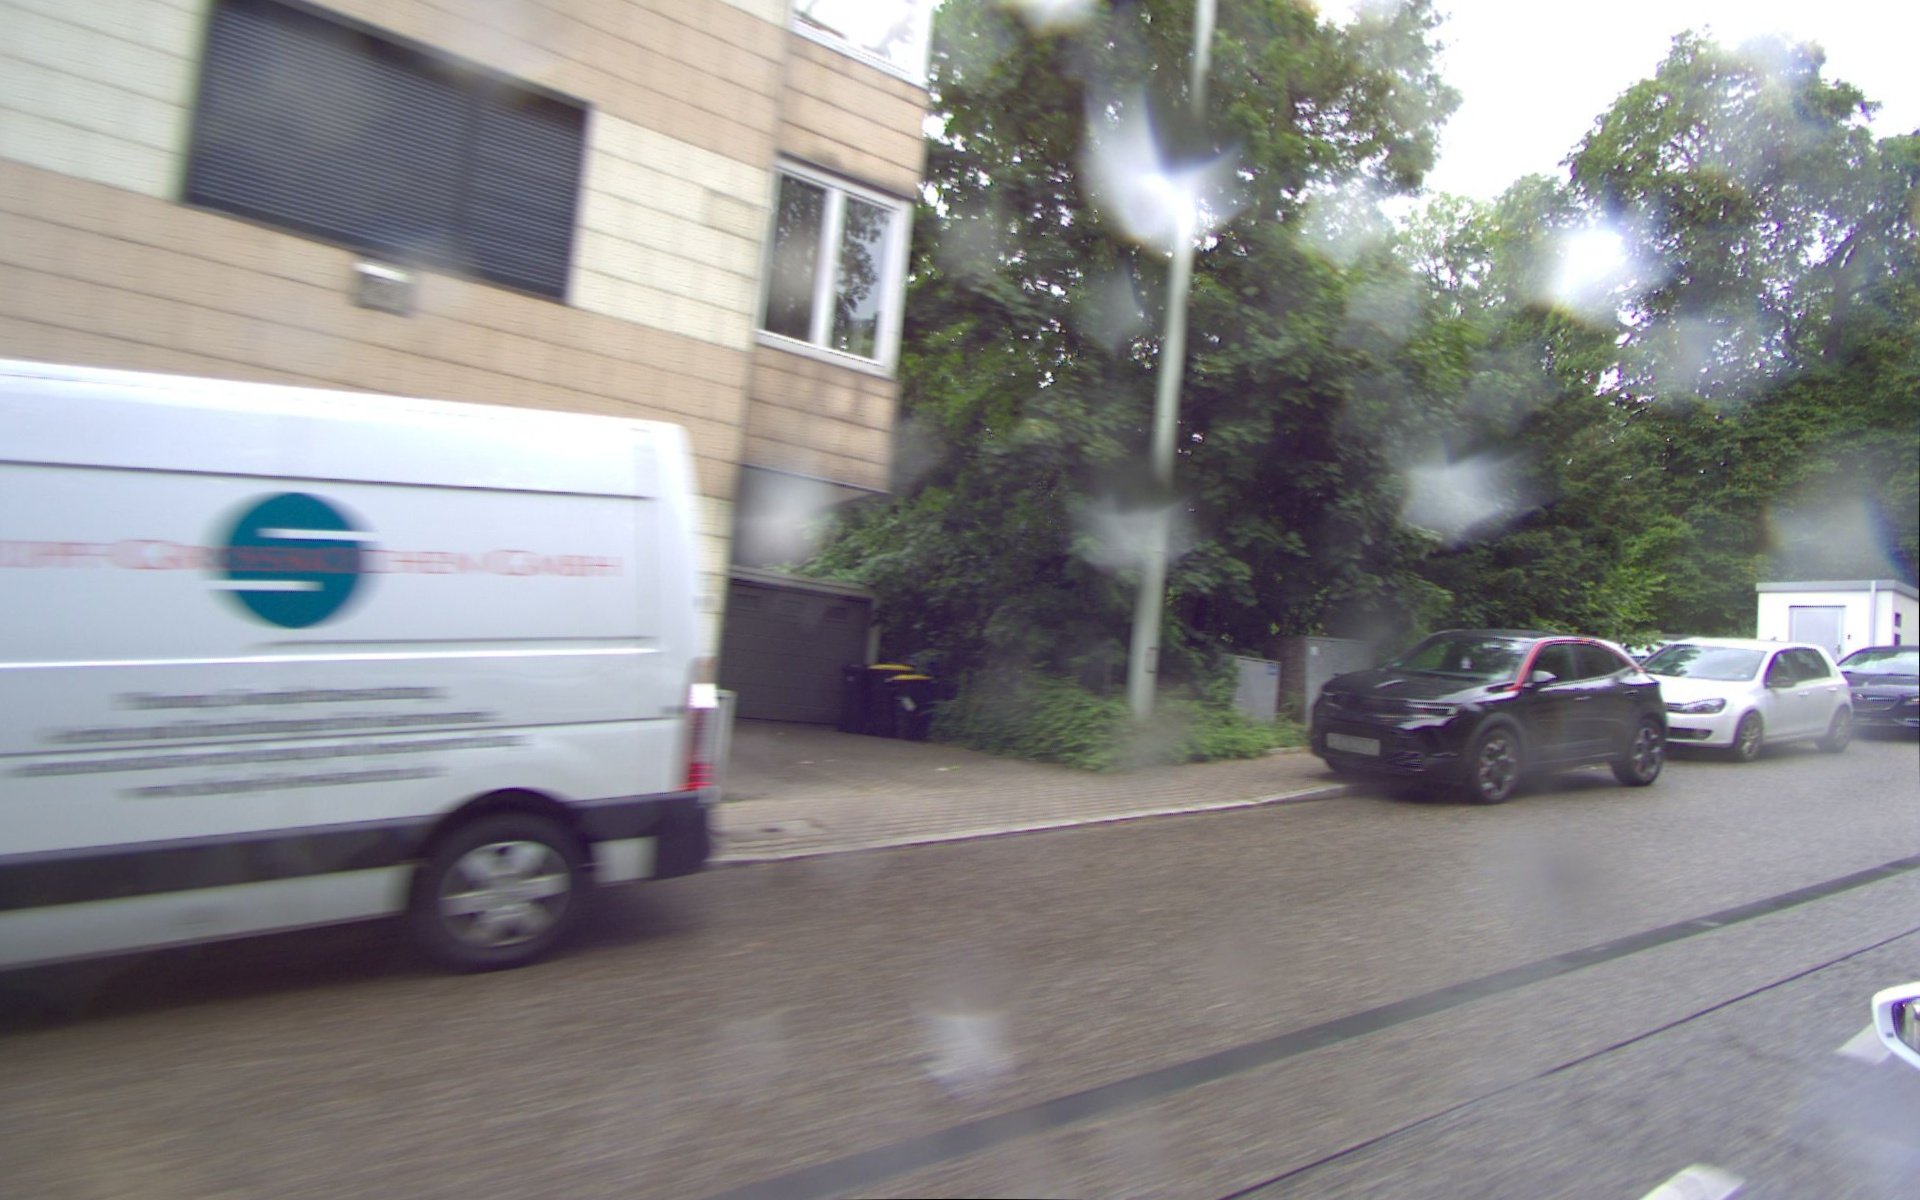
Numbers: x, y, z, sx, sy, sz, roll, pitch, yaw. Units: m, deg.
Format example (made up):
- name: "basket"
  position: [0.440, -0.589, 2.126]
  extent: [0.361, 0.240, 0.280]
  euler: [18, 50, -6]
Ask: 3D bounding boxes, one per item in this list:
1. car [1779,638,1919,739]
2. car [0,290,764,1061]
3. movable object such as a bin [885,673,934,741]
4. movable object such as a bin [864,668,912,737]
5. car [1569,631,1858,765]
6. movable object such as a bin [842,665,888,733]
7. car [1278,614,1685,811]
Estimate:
- name: "car"
  position: [15.971, 1.437, 17.029]
  extent: [4.705, 1.512, 1.850]
  euler: [2, -5, -33]
- name: "car"
  position: [-3.760, 0.294, 4.277]
  extent: [5.380, 2.584, 2.108]
  euler: [2, -4, -30]
- name: "movable object such as a bin"
  position: [-0.745, 1.559, 14.746]
  extent: [0.533, 0.937, 0.504]
  euler: [1, -2, -32]
- name: "movable object such as a bin"
  position: [-1.088, 1.534, 15.152]
  extent: [0.533, 1.001, 0.504]
  euler: [1, -2, -32]
- name: "car"
  position: [10.302, 1.234, 13.682]
  extent: [4.099, 1.590, 1.649]
  euler: [1, -2, -30]
- name: "movable object such as a bin"
  position: [-1.481, 1.528, 15.605]
  extent: [0.533, 1.001, 0.504]
  euler: [1, -2, -32]
- name: "car"
  position: [5.297, 1.031, 10.092]
  extent: [4.136, 1.625, 1.637]
  euler: [2, -4, -30]
